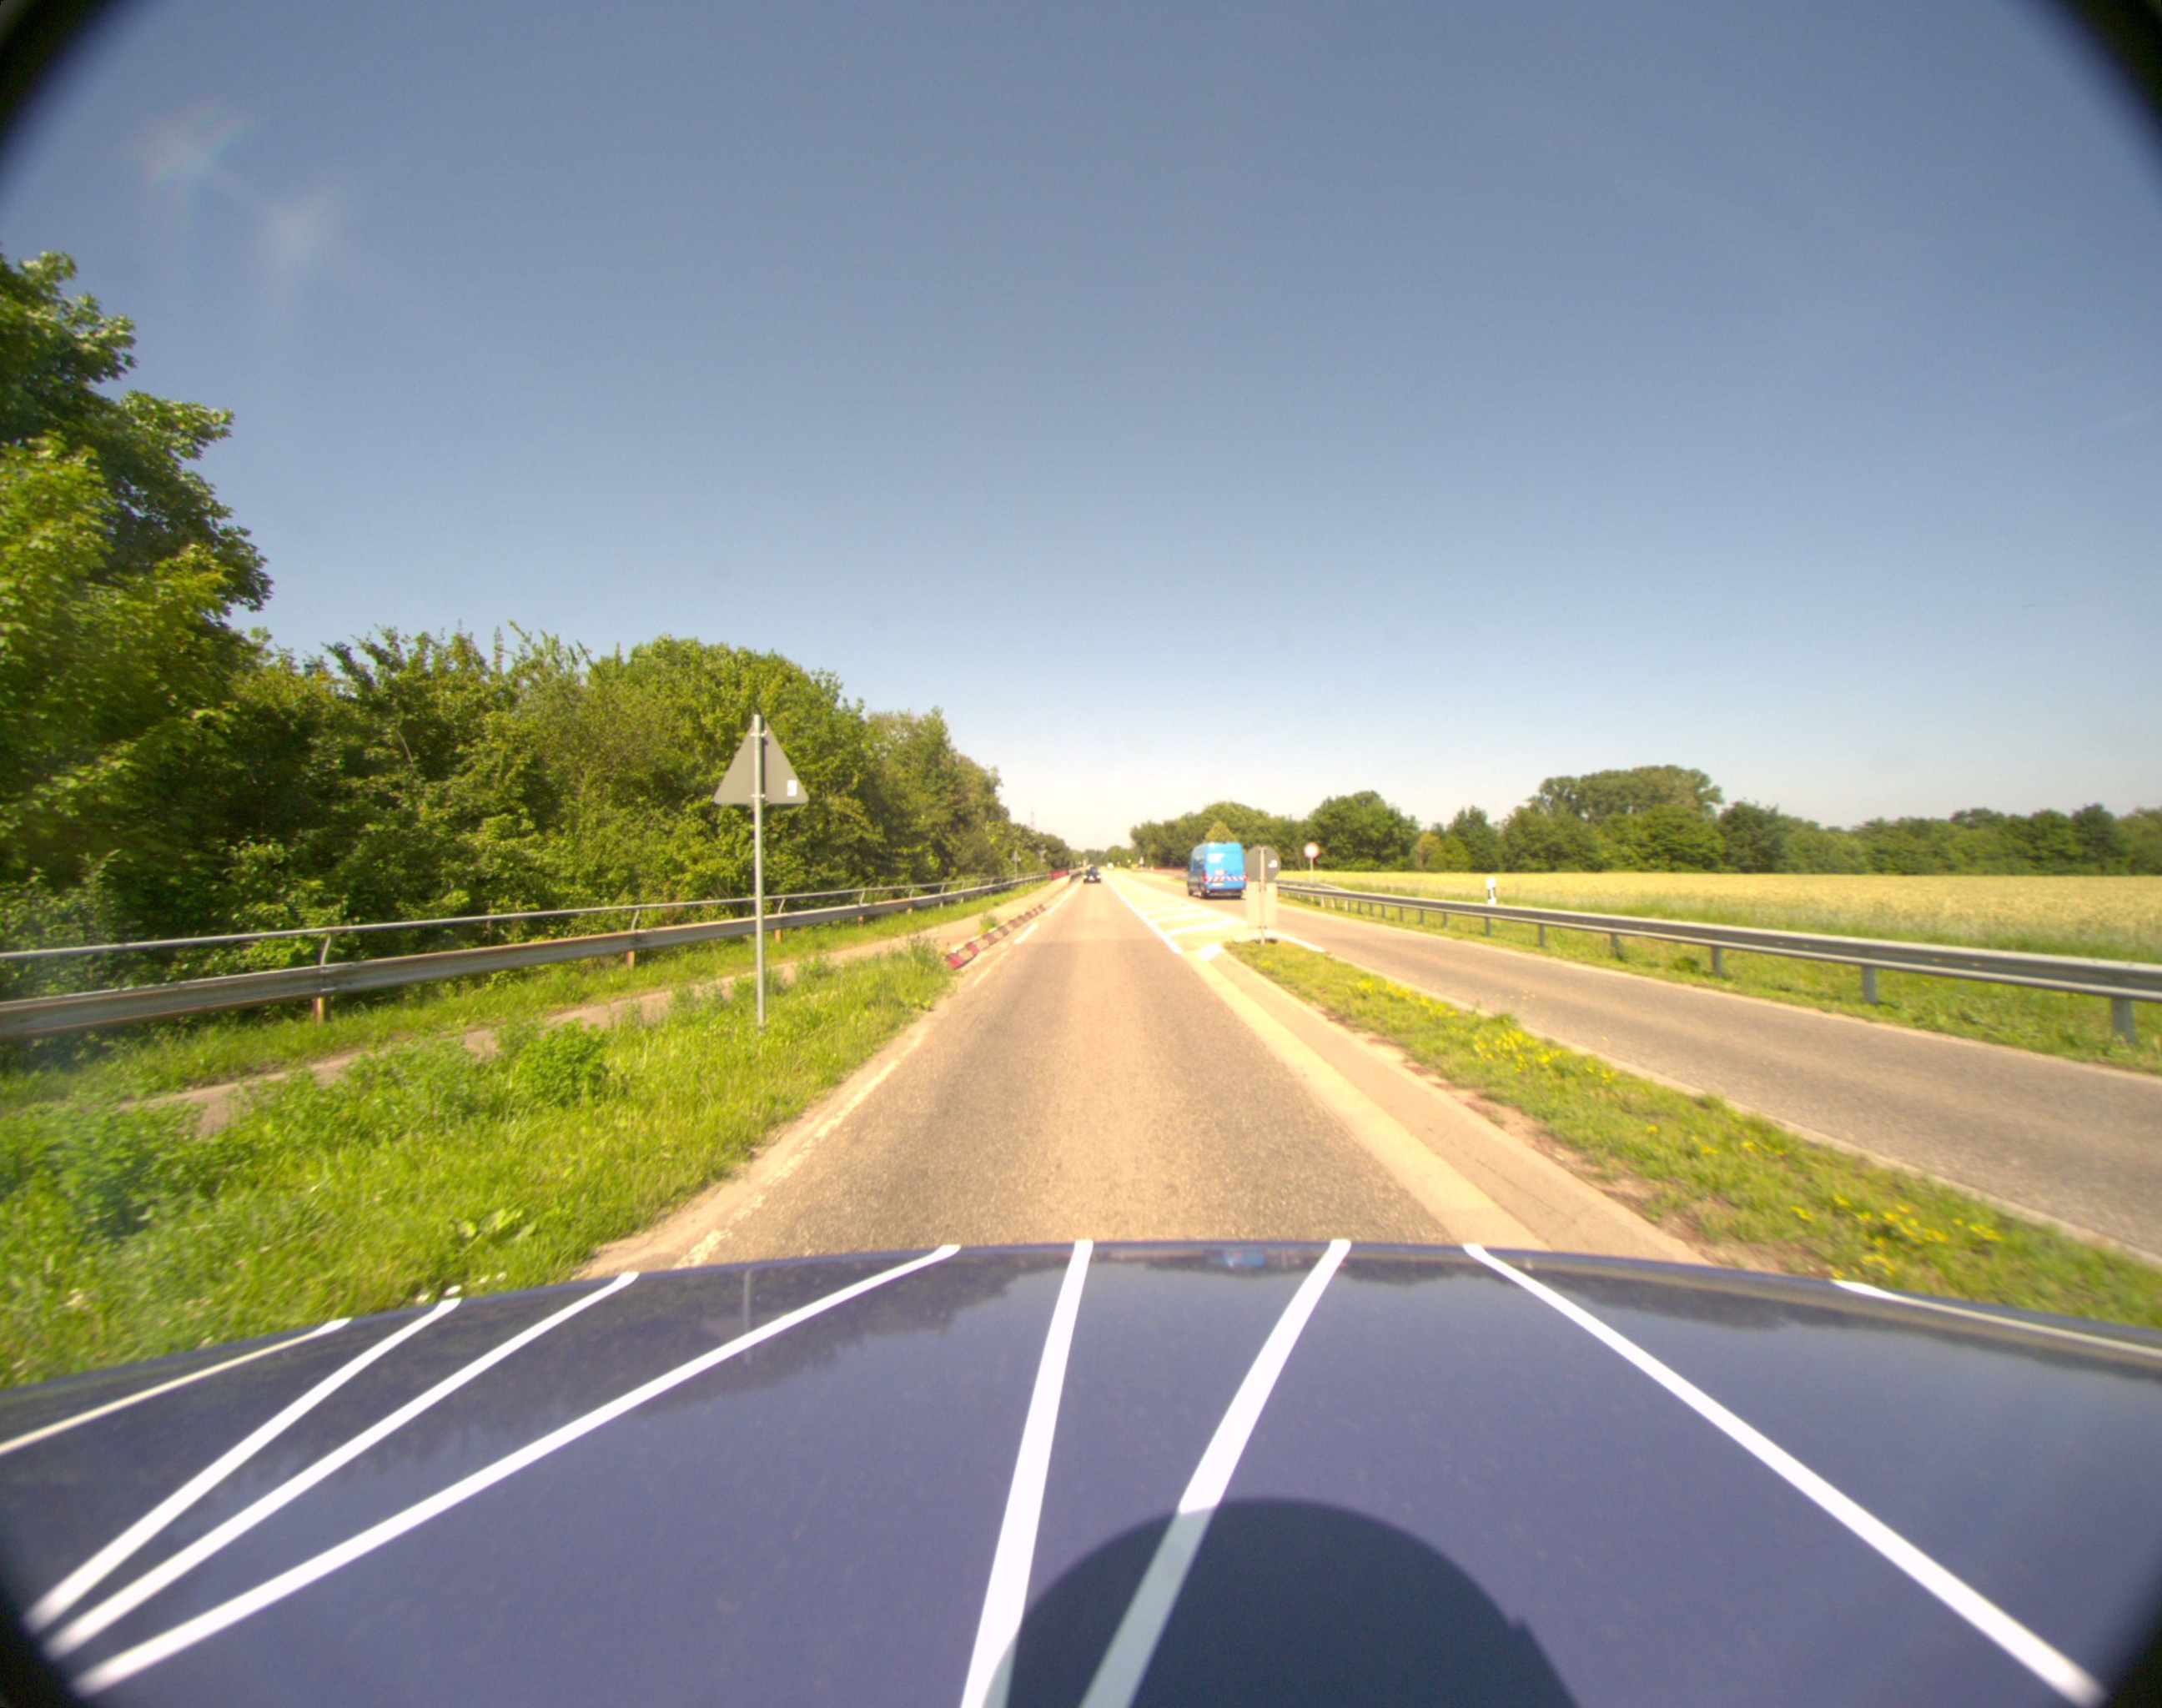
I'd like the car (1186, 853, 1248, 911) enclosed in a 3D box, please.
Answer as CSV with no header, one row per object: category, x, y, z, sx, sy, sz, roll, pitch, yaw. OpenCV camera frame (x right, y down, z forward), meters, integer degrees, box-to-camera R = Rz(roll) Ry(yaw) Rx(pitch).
car,6.709,1.348,38.296,1.998,2.595,7.293,0,-1,2

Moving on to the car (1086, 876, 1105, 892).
car,1.437,2.992,76.144,1.806,1.389,4.181,-1,-1,2
